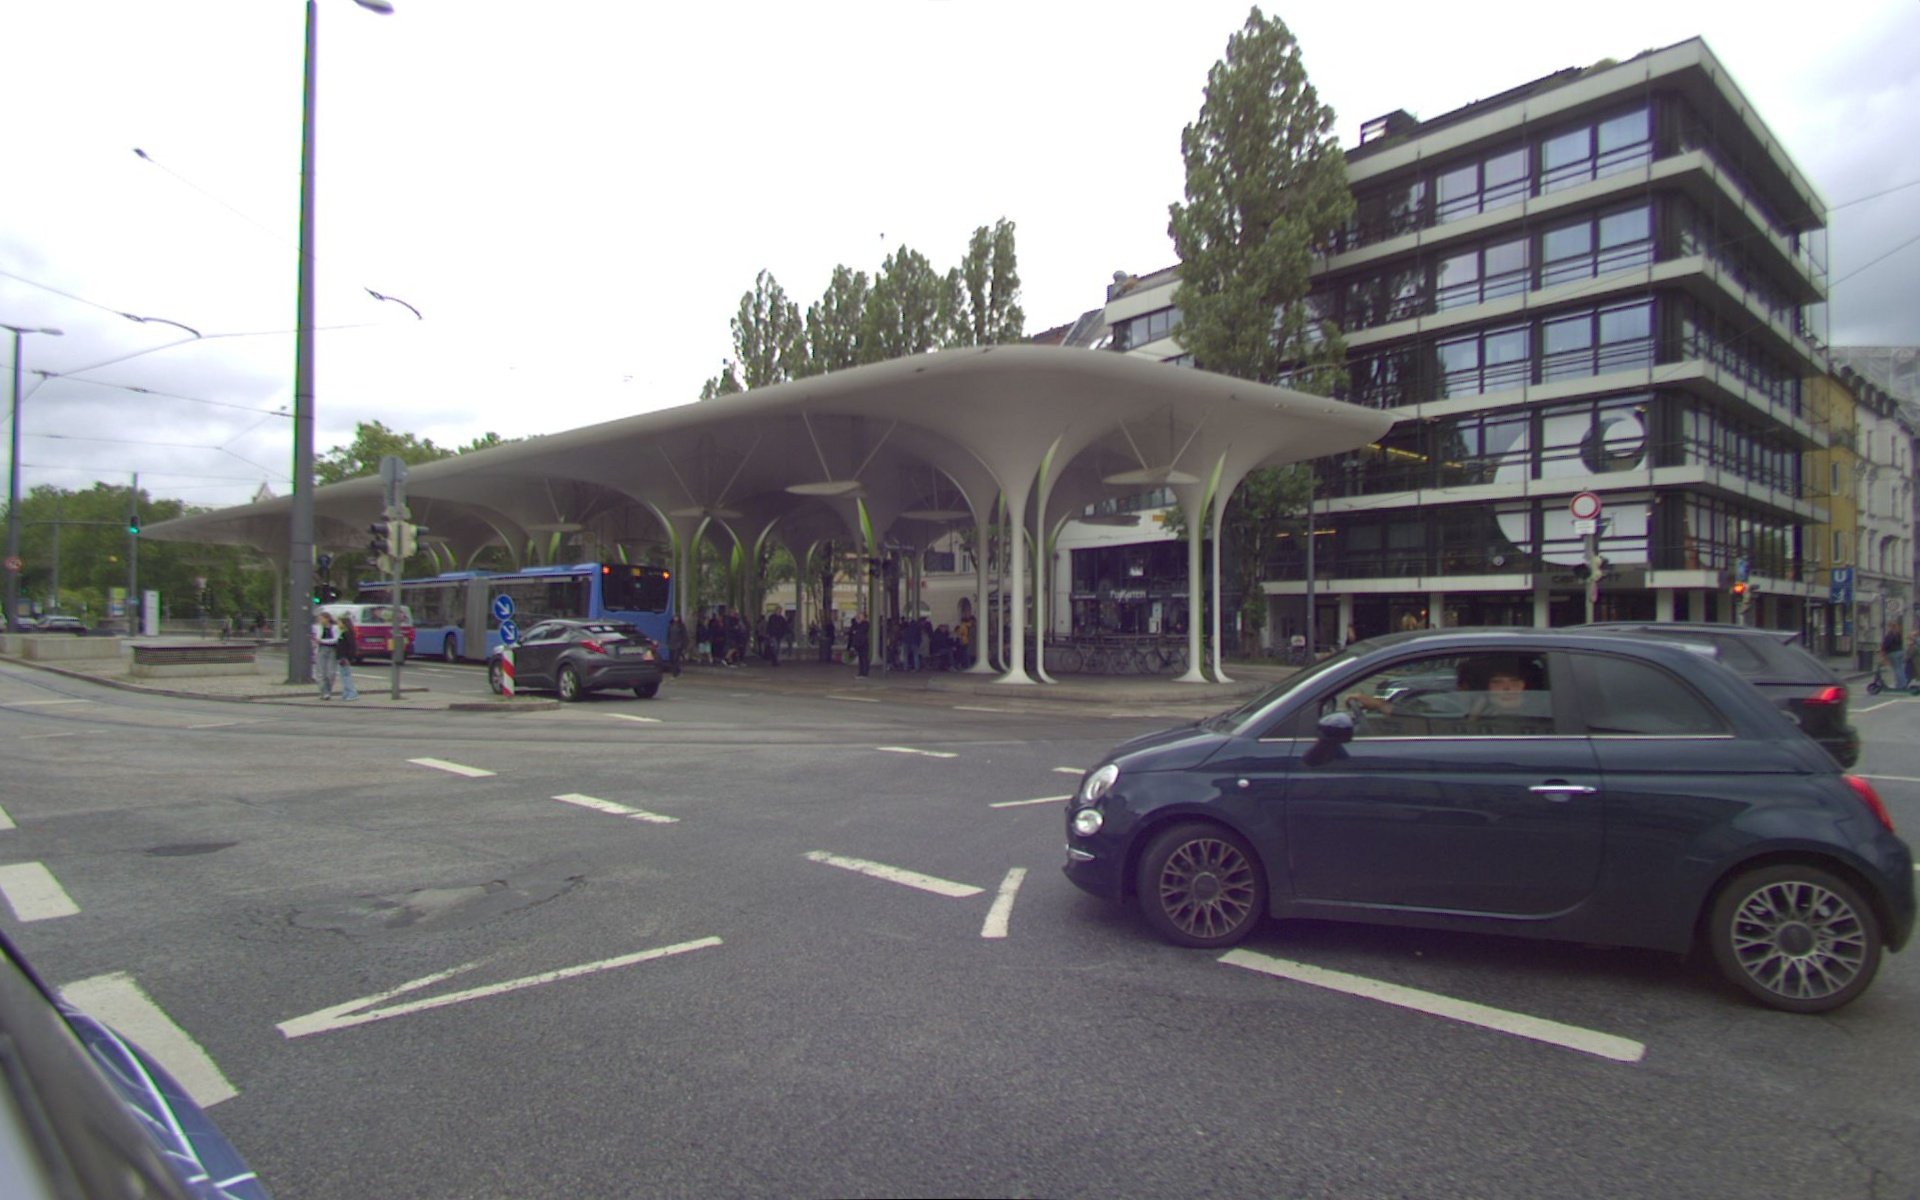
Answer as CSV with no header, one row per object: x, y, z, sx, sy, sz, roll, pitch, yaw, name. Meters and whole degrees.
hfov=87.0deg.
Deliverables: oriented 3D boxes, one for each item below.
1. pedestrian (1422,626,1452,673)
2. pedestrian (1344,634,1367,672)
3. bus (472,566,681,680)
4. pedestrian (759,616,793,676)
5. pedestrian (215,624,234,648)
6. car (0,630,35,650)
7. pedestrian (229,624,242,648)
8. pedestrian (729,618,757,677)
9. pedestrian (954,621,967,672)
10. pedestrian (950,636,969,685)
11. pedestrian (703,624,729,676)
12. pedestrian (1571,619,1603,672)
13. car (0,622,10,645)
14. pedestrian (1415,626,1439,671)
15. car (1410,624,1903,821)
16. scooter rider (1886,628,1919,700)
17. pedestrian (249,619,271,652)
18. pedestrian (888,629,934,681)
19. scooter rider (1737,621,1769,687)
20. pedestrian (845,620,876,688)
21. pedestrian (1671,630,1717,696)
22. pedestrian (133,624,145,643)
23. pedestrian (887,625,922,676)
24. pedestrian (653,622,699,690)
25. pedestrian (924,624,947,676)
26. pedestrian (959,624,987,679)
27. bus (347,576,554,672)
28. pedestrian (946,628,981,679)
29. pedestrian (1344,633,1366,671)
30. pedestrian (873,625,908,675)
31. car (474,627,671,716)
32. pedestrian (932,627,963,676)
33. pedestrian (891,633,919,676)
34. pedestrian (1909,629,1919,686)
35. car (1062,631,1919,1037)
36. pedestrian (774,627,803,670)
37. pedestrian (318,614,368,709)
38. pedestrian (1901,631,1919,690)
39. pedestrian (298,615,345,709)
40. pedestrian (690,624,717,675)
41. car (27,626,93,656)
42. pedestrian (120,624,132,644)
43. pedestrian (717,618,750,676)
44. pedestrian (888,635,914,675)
18.839,1.934,39.967,0.710,1.814,0.829,1,-2,-39,pedestrian
16.744,2.245,42.835,0.585,1.604,0.675,1,-2,-39,pedestrian
-11.713,0.739,30.518,7.510,3.031,2.632,-1,-4,41,bus
-5.704,1.407,31.360,0.793,1.831,0.707,1,-2,-34,pedestrian
-50.280,2.461,69.193,0.737,1.641,0.734,-1,-2,20,pedestrian
-69.710,2.911,74.573,4.609,1.389,1.656,-1,-3,40,car
-51.814,2.554,72.375,0.725,1.729,0.862,1,-2,-38,pedestrian
-6.532,1.419,30.453,0.693,1.724,0.759,1,-2,-21,pedestrian
0.029,1.804,39.163,0.418,1.947,0.481,0,-2,13,pedestrian
-0.022,2.025,34.111,0.534,1.615,0.618,0,-1,11,pedestrian
-7.448,1.519,30.914,0.533,1.584,0.556,-2,-2,41,pedestrian
24.737,1.779,39.920,0.917,2.029,0.824,-2,-2,42,pedestrian
-81.911,2.772,85.103,6.150,1.902,2.153,-1,-2,39,car
18.907,1.954,40.986,0.585,1.814,0.691,1,-2,-39,pedestrian
7.109,1.093,10.635,3.998,1.674,1.764,-1,-2,42,car
24.734,1.670,26.496,0.611,1.849,0.668,2,-3,-45,scooter rider
-40.234,2.025,58.174,0.802,1.853,0.663,0,-2,11,pedestrian
-1.385,1.553,28.822,1.008,1.464,0.856,1,-2,-35,pedestrian
22.692,1.537,28.968,0.547,1.853,0.610,2,-3,-43,scooter rider
-2.580,1.389,26.330,0.540,1.733,0.616,1,-2,-41,pedestrian
18.637,1.581,25.691,0.845,1.654,0.790,2,-3,-44,pedestrian
-67.958,2.771,83.729,0.588,1.570,0.624,-1,-3,40,pedestrian
-2.035,1.848,37.371,0.994,1.841,0.841,1,-2,-45,pedestrian
-7.279,1.420,25.984,0.831,1.694,0.971,0,-2,6,pedestrian
-0.773,1.551,31.443,0.655,1.595,0.499,0,-2,-7,pedestrian
0.398,1.549,30.518,0.589,1.623,0.624,2,-2,-45,pedestrian
-18.556,0.900,36.412,10.506,3.031,2.633,-1,-4,40,bus
0.102,1.631,31.286,0.798,1.542,0.724,-1,-2,44,pedestrian
17.029,2.236,43.654,0.585,1.604,0.675,1,-2,-39,pedestrian
-2.613,1.861,37.967,0.994,1.835,0.841,1,-2,-45,pedestrian
-7.561,1.321,19.584,4.278,1.520,1.647,-1,-4,40,car
-0.374,1.543,30.472,0.860,1.469,0.551,0,-2,-7,pedestrian
-1.631,1.603,29.929,0.612,1.245,0.532,-1,-2,41,pedestrian
28.524,1.674,29.674,0.789,1.666,0.854,1,-2,-37,pedestrian
2.357,0.898,4.830,3.509,1.457,1.542,0,-3,17,car
-6.604,1.842,39.002,0.801,1.623,0.791,1,-2,-42,pedestrian
-10.777,1.063,17.694,0.551,1.631,0.486,0,-2,7,pedestrian
27.335,1.703,28.644,0.777,1.654,0.860,1,-2,-37,pedestrian
-11.181,1.073,17.731,0.514,1.631,0.464,0,-2,-5,pedestrian
-7.635,1.467,30.164,0.471,1.516,0.606,-1,-2,39,pedestrian
-44.428,1.983,49.924,4.031,1.427,1.824,-1,-2,40,car
-68.455,2.785,83.111,0.588,1.570,0.624,-1,-3,40,pedestrian
-6.637,1.360,29.650,0.742,1.687,0.627,0,-1,19,pedestrian
-1.998,1.852,34.283,0.867,1.327,0.839,0,-1,-3,pedestrian
